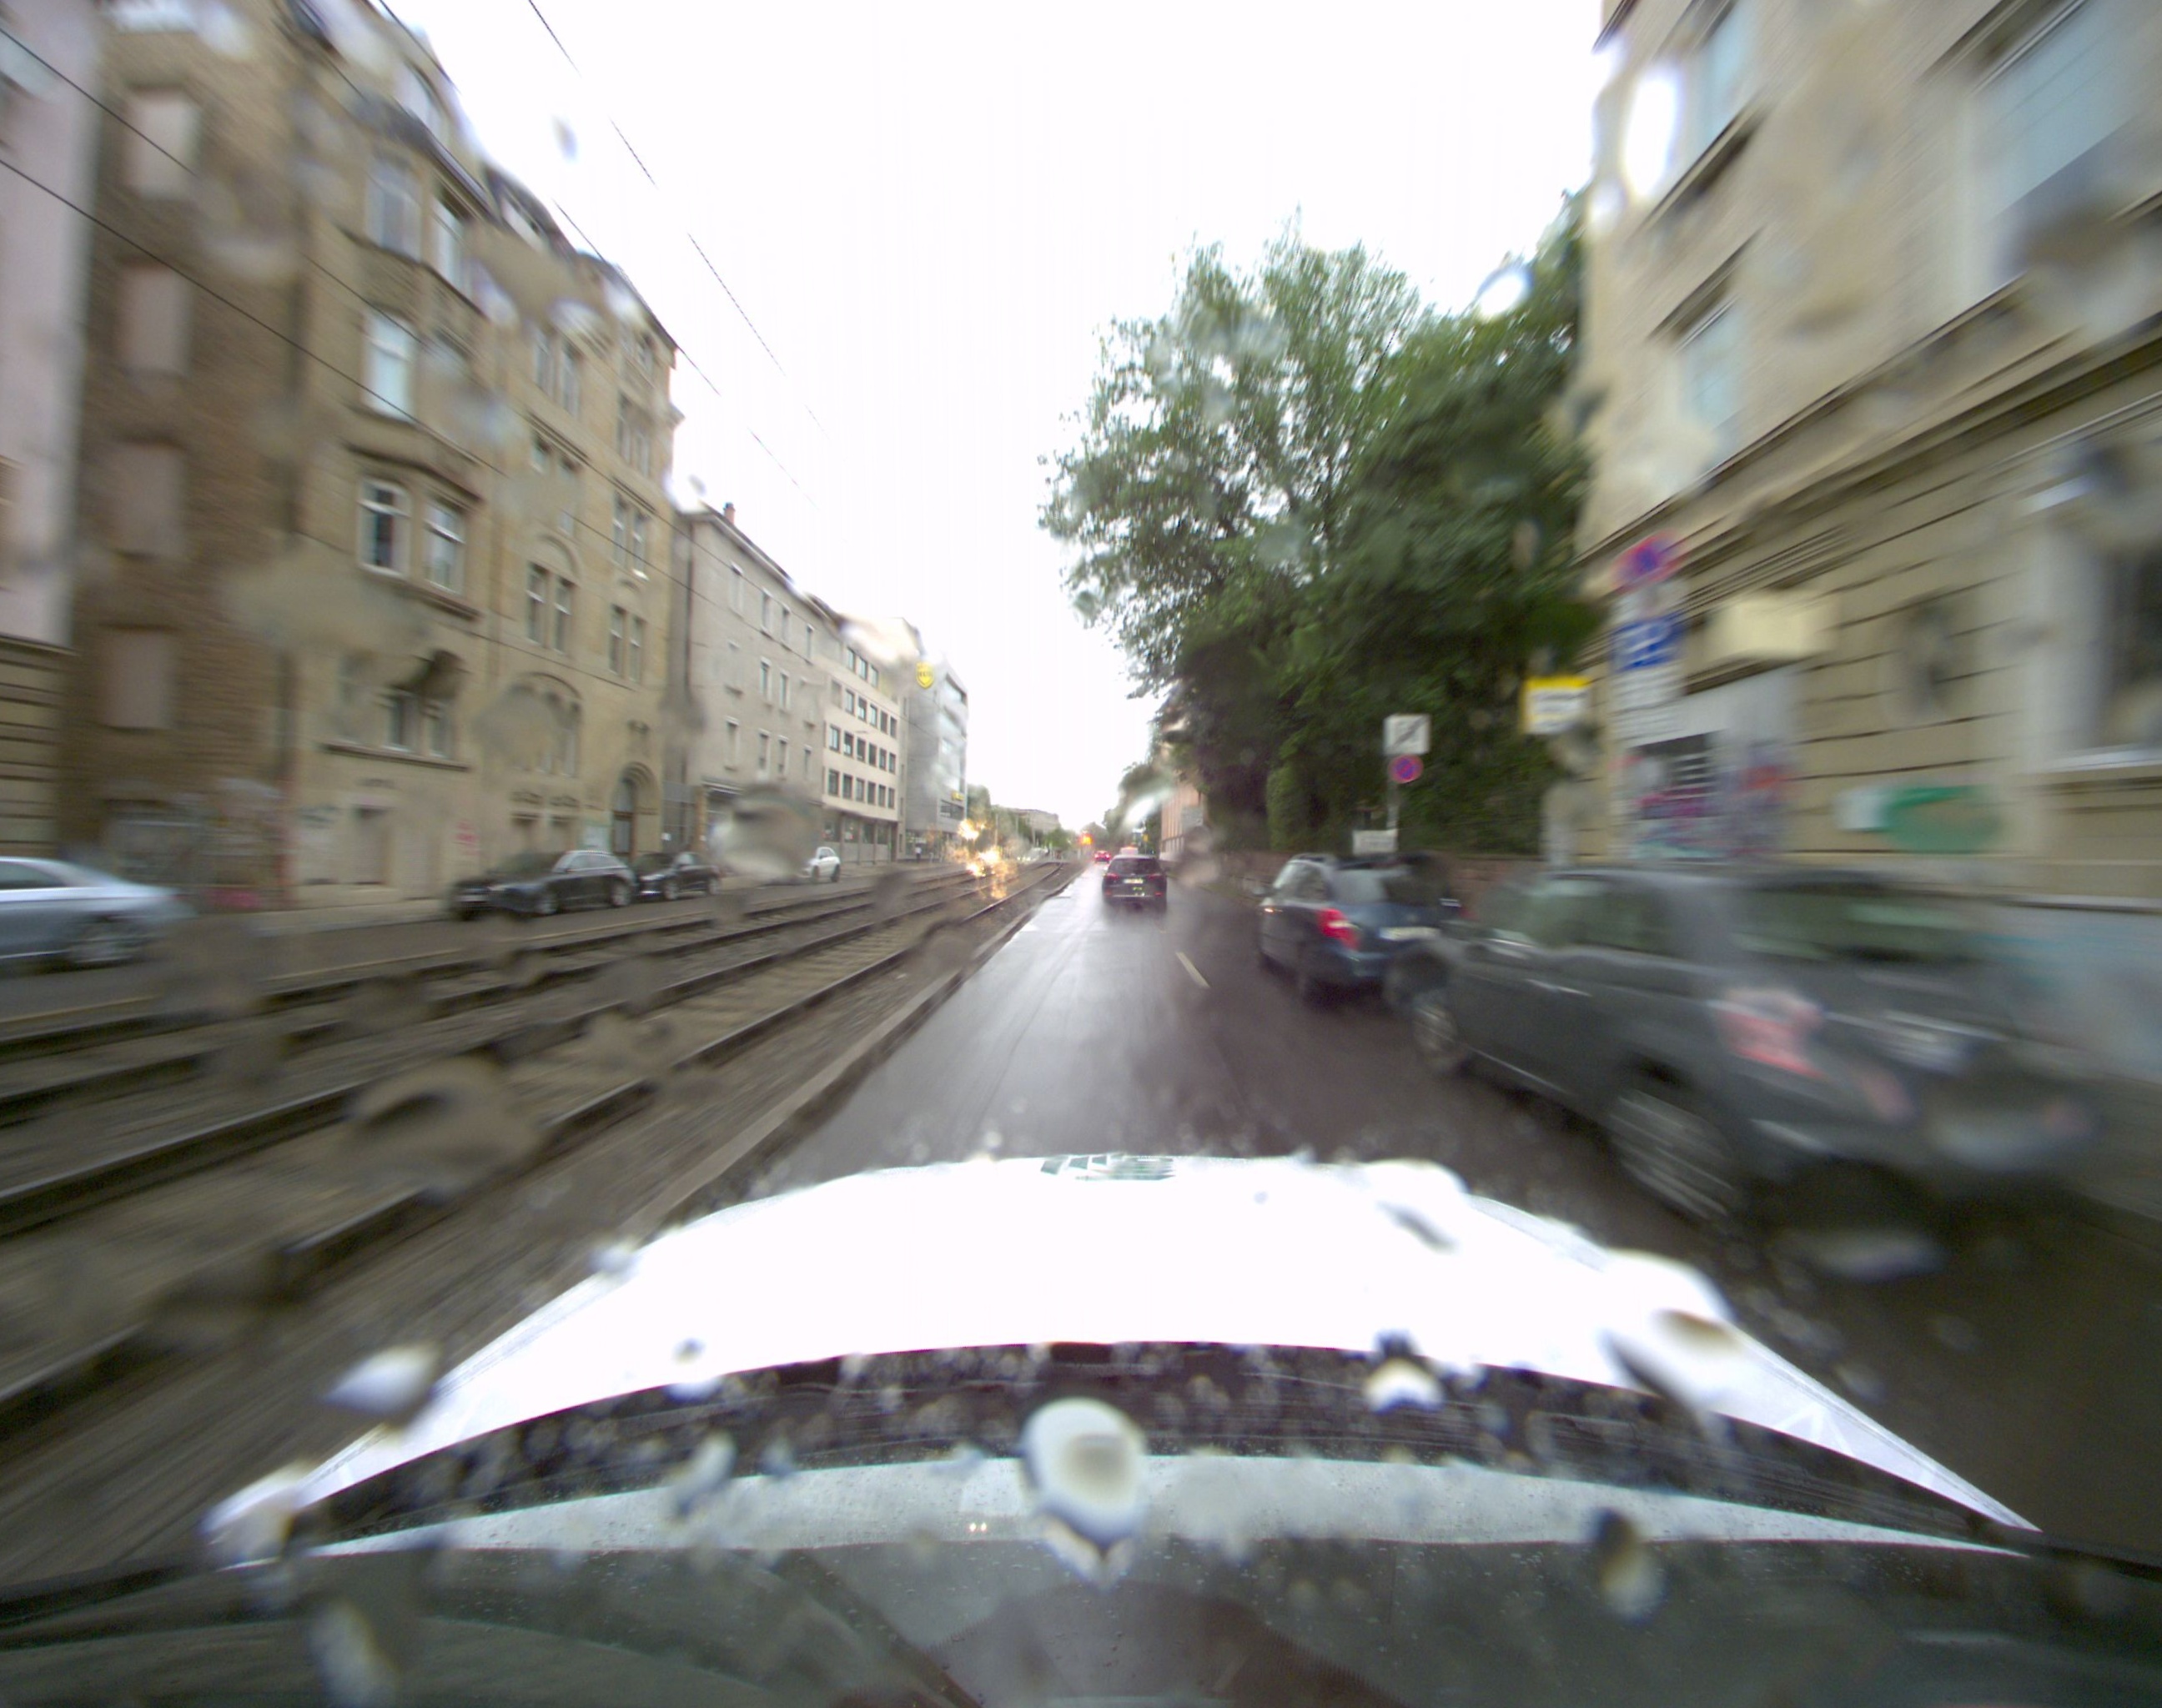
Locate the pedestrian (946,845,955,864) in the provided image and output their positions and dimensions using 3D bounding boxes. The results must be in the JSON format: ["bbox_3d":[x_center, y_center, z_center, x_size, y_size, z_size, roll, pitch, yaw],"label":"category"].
[{"bbox_3d":[-12.977,0.067,80.847,0.741,1.854,0.839,1,-2,0],"label":"pedestrian"}]

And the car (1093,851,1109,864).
[{"bbox_3d":[2.602,0.475,103.687,1.986,1.594,4.273,1,-1,2],"label":"car"}]

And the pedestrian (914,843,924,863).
[{"bbox_3d":[-14.791,-0.098,74.403,0.741,1.854,0.839,1,-2,0],"label":"pedestrian"}]

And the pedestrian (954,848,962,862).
[{"bbox_3d":[-16.024,0.129,106.110,0.741,1.854,0.839,1,-2,0],"label":"pedestrian"}]

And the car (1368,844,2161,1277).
[{"bbox_3d":[3.274,0.730,4.875,1.732,1.489,4.000,1,0,1],"label":"car"}]

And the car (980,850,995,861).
[{"bbox_3d":[-13.188,0.204,114.486,1.991,1.442,3.991,2,0,-7],"label":"car"}]

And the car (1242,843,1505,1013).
[{"bbox_3d":[3.078,0.675,9.473,1.637,1.516,4.039,1,0,1],"label":"car"}]

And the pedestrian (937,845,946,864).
[{"bbox_3d":[-13.871,0.014,80.825,0.741,1.854,0.839,1,-2,0],"label":"pedestrian"}]

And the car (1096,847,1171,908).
[{"bbox_3d":[1.487,0.676,23.965,1.986,1.594,4.273,1,-1,2],"label":"car"}]

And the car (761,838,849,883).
[{"bbox_3d":[-12.238,0.300,36.524,1.986,1.839,5.073,2,-1,2],"label":"car"}]

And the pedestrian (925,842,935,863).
[{"bbox_3d":[-13.764,-0.104,74.375,0.741,1.854,0.839,1,-2,0],"label":"pedestrian"}]

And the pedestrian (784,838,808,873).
[{"bbox_3d":[-14.762,0.068,42.167,0.799,1.750,0.984,2,-1,1],"label":"pedestrian"}]

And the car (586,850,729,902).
[{"bbox_3d":[-12.712,0.628,24.797,1.986,1.376,4.239,2,0,2],"label":"car"}]

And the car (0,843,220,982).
[{"bbox_3d":[-13.005,0.635,8.779,1.986,1.519,4.993,2,-1,1],"label":"car"}]

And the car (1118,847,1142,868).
[{"bbox_3d":[4.452,0.340,74.467,1.986,1.816,4.273,1,-1,2],"label":"car"}]

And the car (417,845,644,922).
[{"bbox_3d":[-12.632,0.630,19.169,1.986,1.519,4.677,2,-1,1],"label":"car"}]
